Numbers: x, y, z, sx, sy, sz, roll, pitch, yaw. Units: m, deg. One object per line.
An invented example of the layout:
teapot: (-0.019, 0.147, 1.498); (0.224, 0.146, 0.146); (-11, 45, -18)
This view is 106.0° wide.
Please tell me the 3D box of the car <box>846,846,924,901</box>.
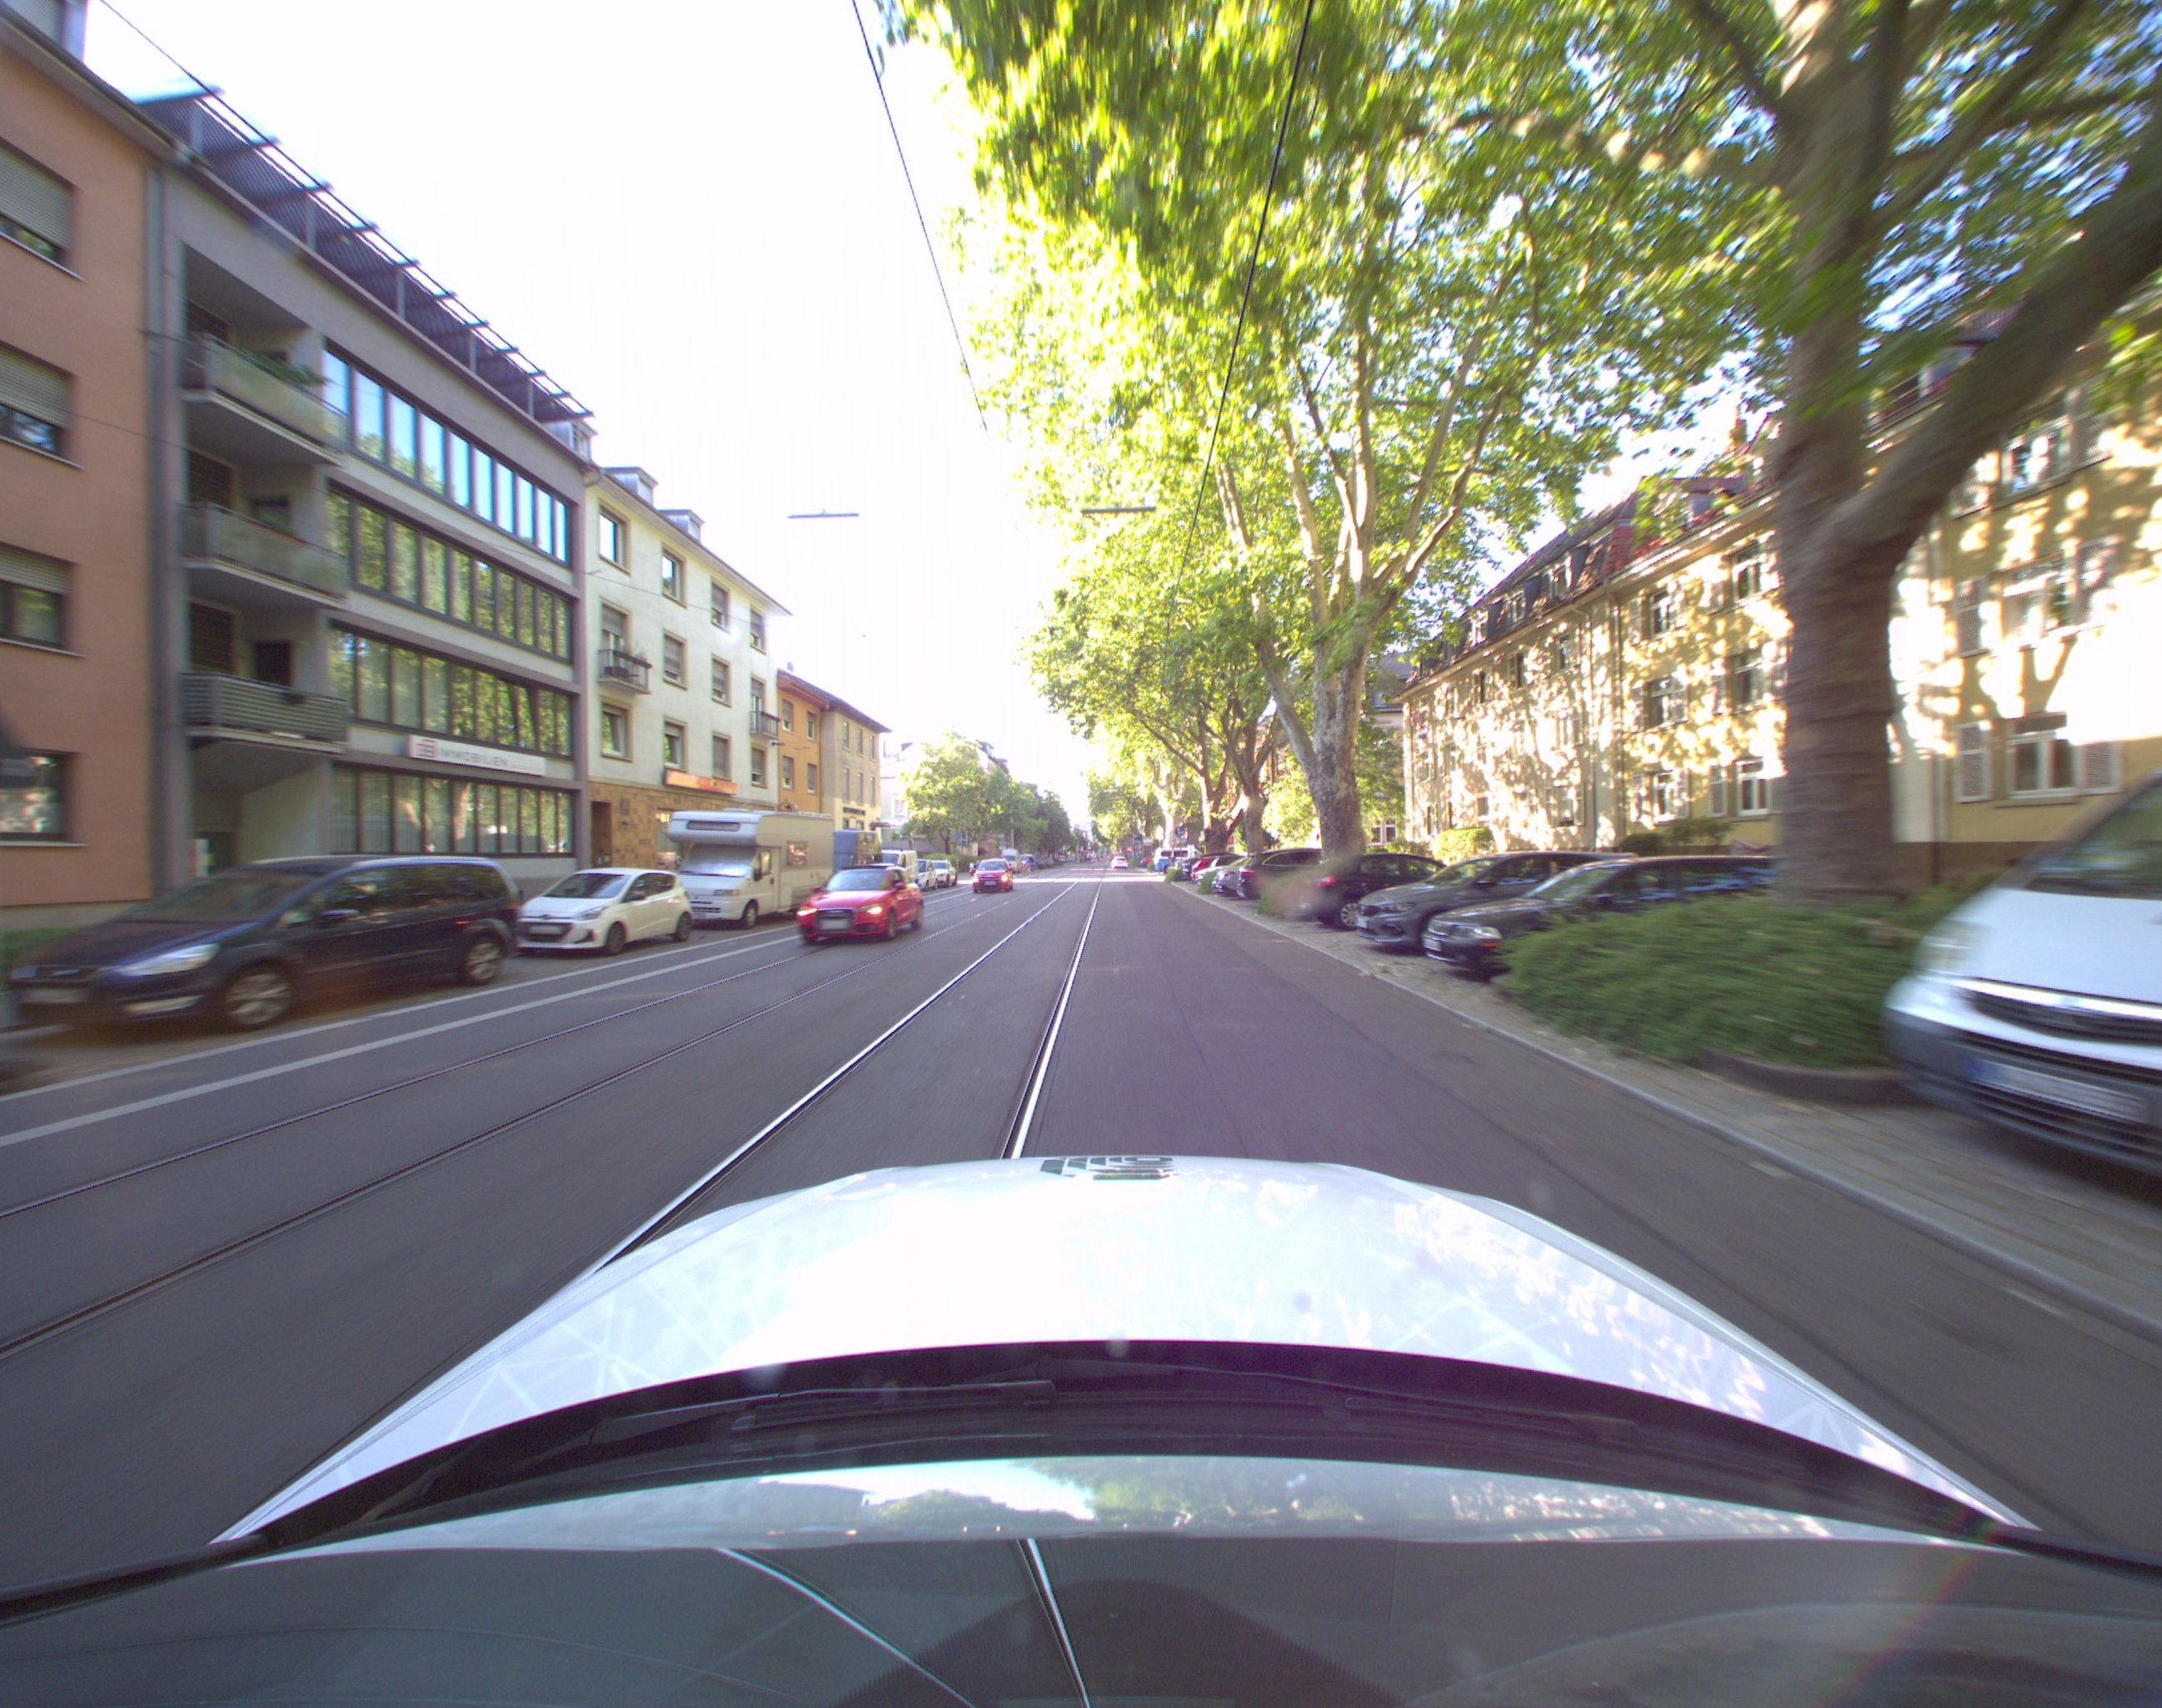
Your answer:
car: (-8.169, 0.734, 34.493); (1.946, 2.091, 5.248); (2, 1, 0)

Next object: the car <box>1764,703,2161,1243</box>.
car: (6.332, 0.393, 3.655); (4.821, 1.963, 2.064); (-1, 0, -1)

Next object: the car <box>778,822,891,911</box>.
car: (-8.432, 0.394, 28.439); (2.078, 2.731, 5.312); (2, 0, 2)

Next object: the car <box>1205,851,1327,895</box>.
car: (6.740, 0.684, 30.050); (4.126, 1.509, 1.797); (-1, 0, 2)

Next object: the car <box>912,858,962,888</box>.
car: (-7.890, 0.984, 45.034); (1.830, 1.468, 5.069); (2, 0, 0)

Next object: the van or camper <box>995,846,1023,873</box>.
van or camper: (-7.173, 0.557, 81.440); (2.071, 2.533, 5.320); (-1, 0, 2)

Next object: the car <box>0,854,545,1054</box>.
car: (-8.996, 0.864, 9.567); (1.945, 1.686, 5.071); (1, 0, 1)

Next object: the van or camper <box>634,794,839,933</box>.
van or camper: (-8.705, 0.213, 21.522); (2.328, 3.041, 6.402); (2, 0, 3)

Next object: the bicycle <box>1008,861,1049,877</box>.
bicycle: (-3.913, 1.094, 60.794); (2.946, 1.105, 1.049); (-1, 0, -8)

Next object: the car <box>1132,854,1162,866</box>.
car: (8.866, 0.842, 109.482); (3.971, 1.521, 2.001); (-1, 0, 2)

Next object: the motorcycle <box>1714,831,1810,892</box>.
motorcycle: (16.866, 0.187, 20.201); (1.798, 1.361, 0.622); (-4, 0, -1)

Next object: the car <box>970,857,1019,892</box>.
car: (-3.942, 0.907, 37.469); (1.657, 1.479, 3.952); (-2, 0, 2)

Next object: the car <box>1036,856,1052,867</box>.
car: (-5.731, 1.150, 126.451); (1.986, 1.745, 4.661); (-1, 0, 2)

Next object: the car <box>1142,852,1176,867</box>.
car: (9.710, 0.718, 101.603); (3.971, 1.784, 2.001); (-1, 0, 2)

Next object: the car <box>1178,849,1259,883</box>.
car: (7.228, 0.619, 43.067); (3.911, 1.670, 1.961); (-1, 0, 0)

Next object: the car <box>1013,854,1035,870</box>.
car: (-6.685, 0.920, 96.113); (2.165, 1.861, 4.661); (-1, 0, 2)

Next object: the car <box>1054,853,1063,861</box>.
car: (-4.784, 0.667, 174.745); (1.912, 1.419, 3.718); (-1, -5, 0)

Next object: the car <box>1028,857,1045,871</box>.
car: (-6.020, 1.357, 110.520); (1.986, 1.861, 4.180); (-1, 0, 2)

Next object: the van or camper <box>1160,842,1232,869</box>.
van or camper: (9.394, 0.120, 66.907); (5.542, 2.013, 2.243); (-1, 2, -3)

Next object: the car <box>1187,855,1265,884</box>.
car: (7.238, 0.752, 40.841); (3.635, 1.378, 1.891); (-1, 0, 2)

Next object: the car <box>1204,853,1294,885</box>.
car: (7.874, 0.692, 38.409); (3.868, 1.435, 1.754); (-1, 0, 1)

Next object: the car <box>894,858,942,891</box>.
car: (-8.092, 0.991, 40.561); (1.565, 1.526, 3.043); (1, 0, 4)

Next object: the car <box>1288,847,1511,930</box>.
car: (6.280, 0.655, 16.371); (3.824, 1.509, 1.711); (-1, 0, 1)

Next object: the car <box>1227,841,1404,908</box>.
car: (6.525, 0.577, 23.108); (4.474, 1.602, 2.030); (-3, 0, 5)

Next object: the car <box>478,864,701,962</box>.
car: (-8.889, 0.981, 15.179); (1.704, 1.488, 3.862); (2, 0, 1)

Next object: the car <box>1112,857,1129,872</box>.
car: (4.611, 1.248, 95.376); (1.911, 1.584, 3.792); (-2, 0, 2)

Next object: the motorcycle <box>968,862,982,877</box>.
motorcycle: (-8.855, 1.276, 68.122); (0.760, 1.107, 2.331); (-1, 2, 2)

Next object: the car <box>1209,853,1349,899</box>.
car: (6.612, 0.726, 27.587); (4.281, 1.439, 1.948); (-1, 0, 0)

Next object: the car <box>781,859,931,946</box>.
car: (-4.359, 0.875, 16.429); (1.717, 1.437, 4.071); (-2, 0, 2)

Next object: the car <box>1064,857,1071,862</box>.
car: (-3.709, 1.454, 229.183); (1.912, 1.419, 3.590); (-1, 0, 0)

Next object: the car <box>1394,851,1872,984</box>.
car: (6.239, 0.706, 9.682); (4.375, 1.380, 1.807); (-1, -1, 5)

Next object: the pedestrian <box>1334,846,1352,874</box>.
pedestrian: (14.220, 0.319, 44.215); (0.659, 1.455, 0.821); (-1, 0, 2)

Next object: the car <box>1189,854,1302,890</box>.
car: (7.194, 0.767, 35.970); (4.669, 1.446, 1.893); (-1, 0, 2)

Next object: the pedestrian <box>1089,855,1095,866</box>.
pedestrian: (2.134, 1.301, 163.766); (1.043, 2.013, 1.083); (-1, 0, 5)

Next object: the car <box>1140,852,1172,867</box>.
car: (9.572, 0.731, 103.891); (3.971, 1.784, 2.001); (-1, 0, 2)

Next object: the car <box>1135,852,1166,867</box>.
car: (9.093, 0.712, 107.169); (3.971, 1.784, 2.001); (-1, 0, 2)

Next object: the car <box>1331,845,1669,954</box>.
car: (6.260, 0.653, 12.565); (4.231, 1.483, 1.898); (-1, 0, 1)

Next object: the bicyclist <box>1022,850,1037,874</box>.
bicyclist: (-3.846, 0.588, 60.817); (1.045, 1.705, 1.055); (-1, 0, -8)

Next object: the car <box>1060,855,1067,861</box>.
car: (-4.441, 1.086, 207.092); (1.912, 1.419, 3.589); (-1, 0, -1)

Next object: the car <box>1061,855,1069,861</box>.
car: (-4.232, 1.107, 211.336); (1.914, 1.419, 3.586); (-3, -1, -3)
